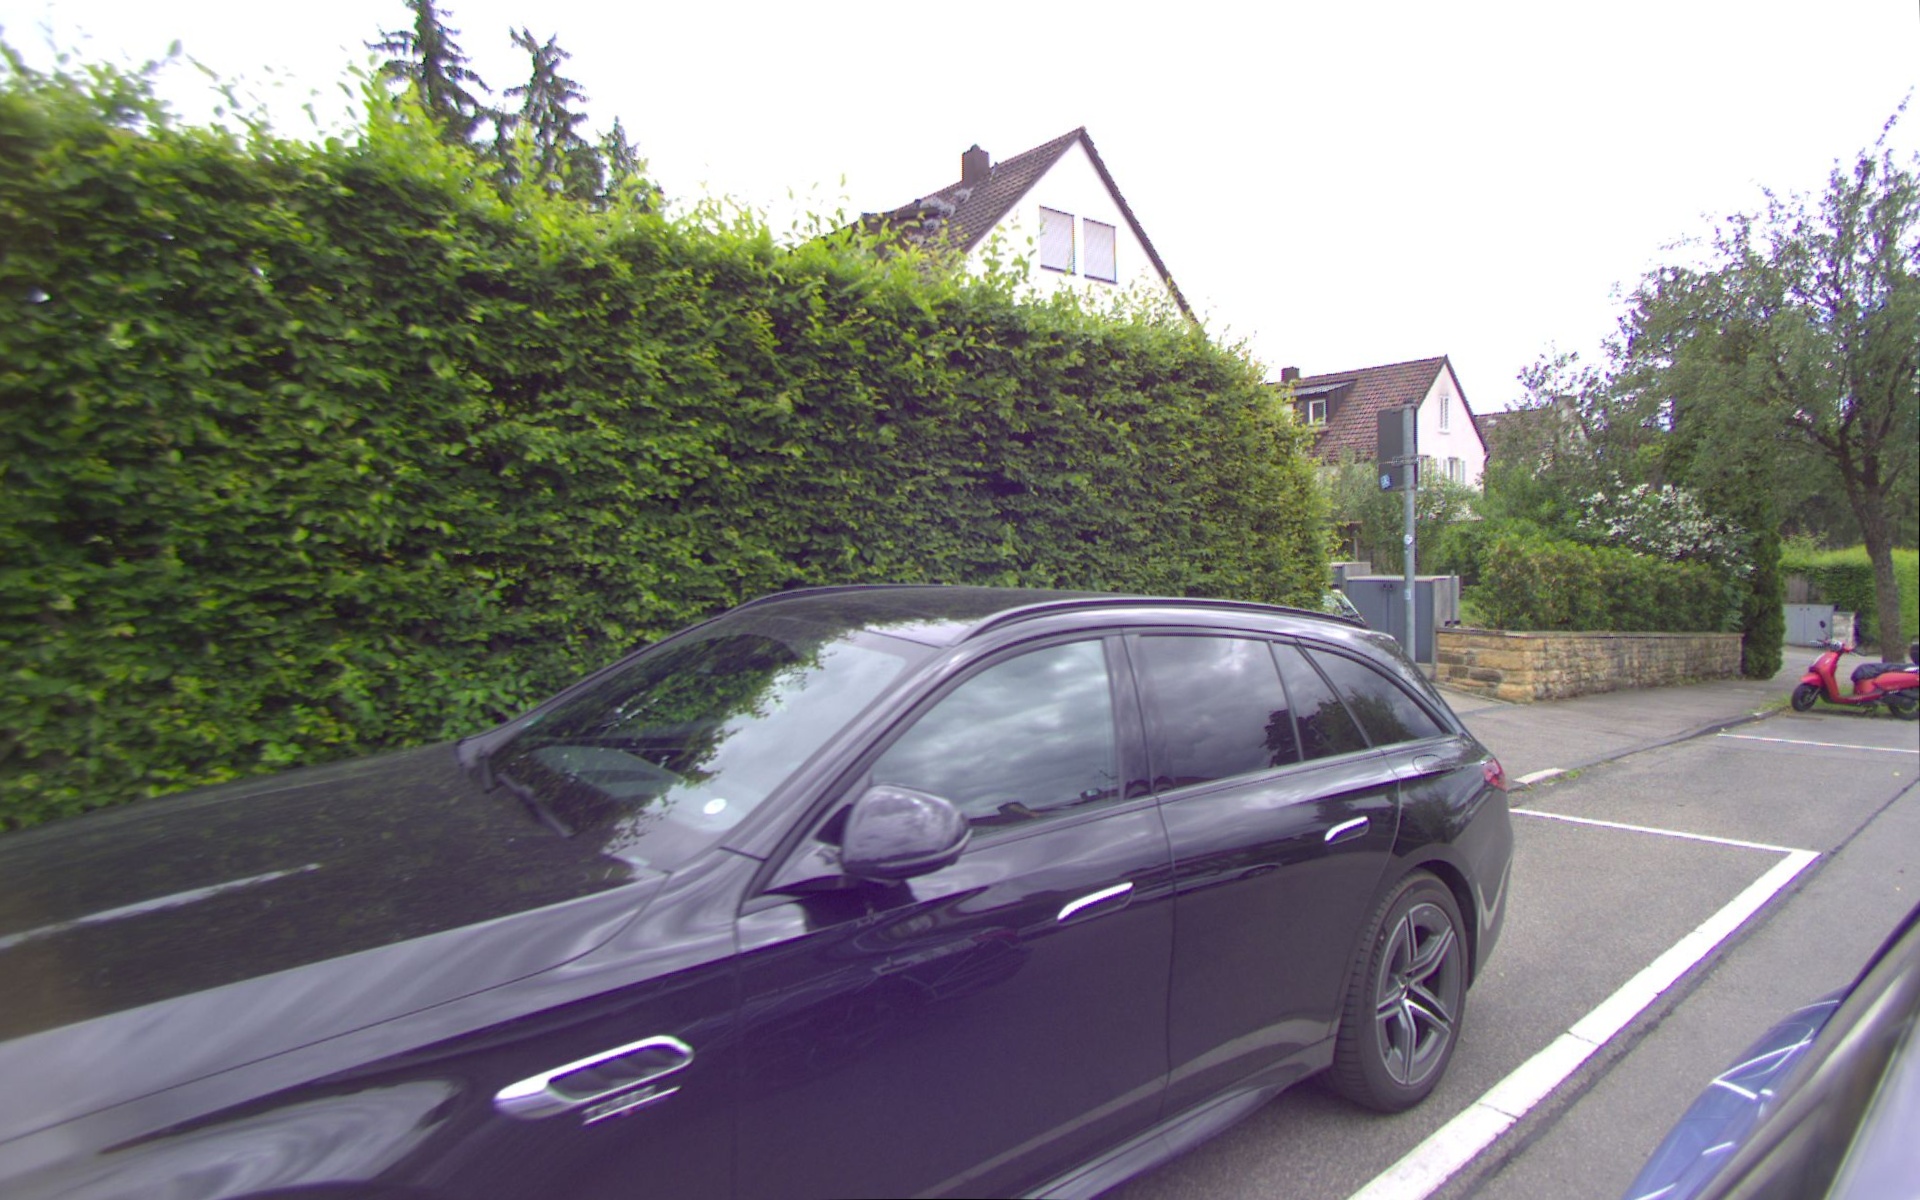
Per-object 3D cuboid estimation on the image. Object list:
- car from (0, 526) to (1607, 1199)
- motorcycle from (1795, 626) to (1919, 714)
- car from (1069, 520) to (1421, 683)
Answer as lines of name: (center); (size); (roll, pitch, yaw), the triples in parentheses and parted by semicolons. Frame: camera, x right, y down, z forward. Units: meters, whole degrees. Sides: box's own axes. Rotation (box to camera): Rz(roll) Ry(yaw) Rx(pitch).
car: (-0.261, 0.654, 2.830); (5.113, 1.512, 1.928); (0, 2, -39)
motorcycle: (13.336, 1.005, 14.536); (1.917, 1.147, 0.655); (2, 1, 23)
car: (3.608, -0.103, 13.341); (1.821, 1.521, 3.995); (-1, 8, -44)
